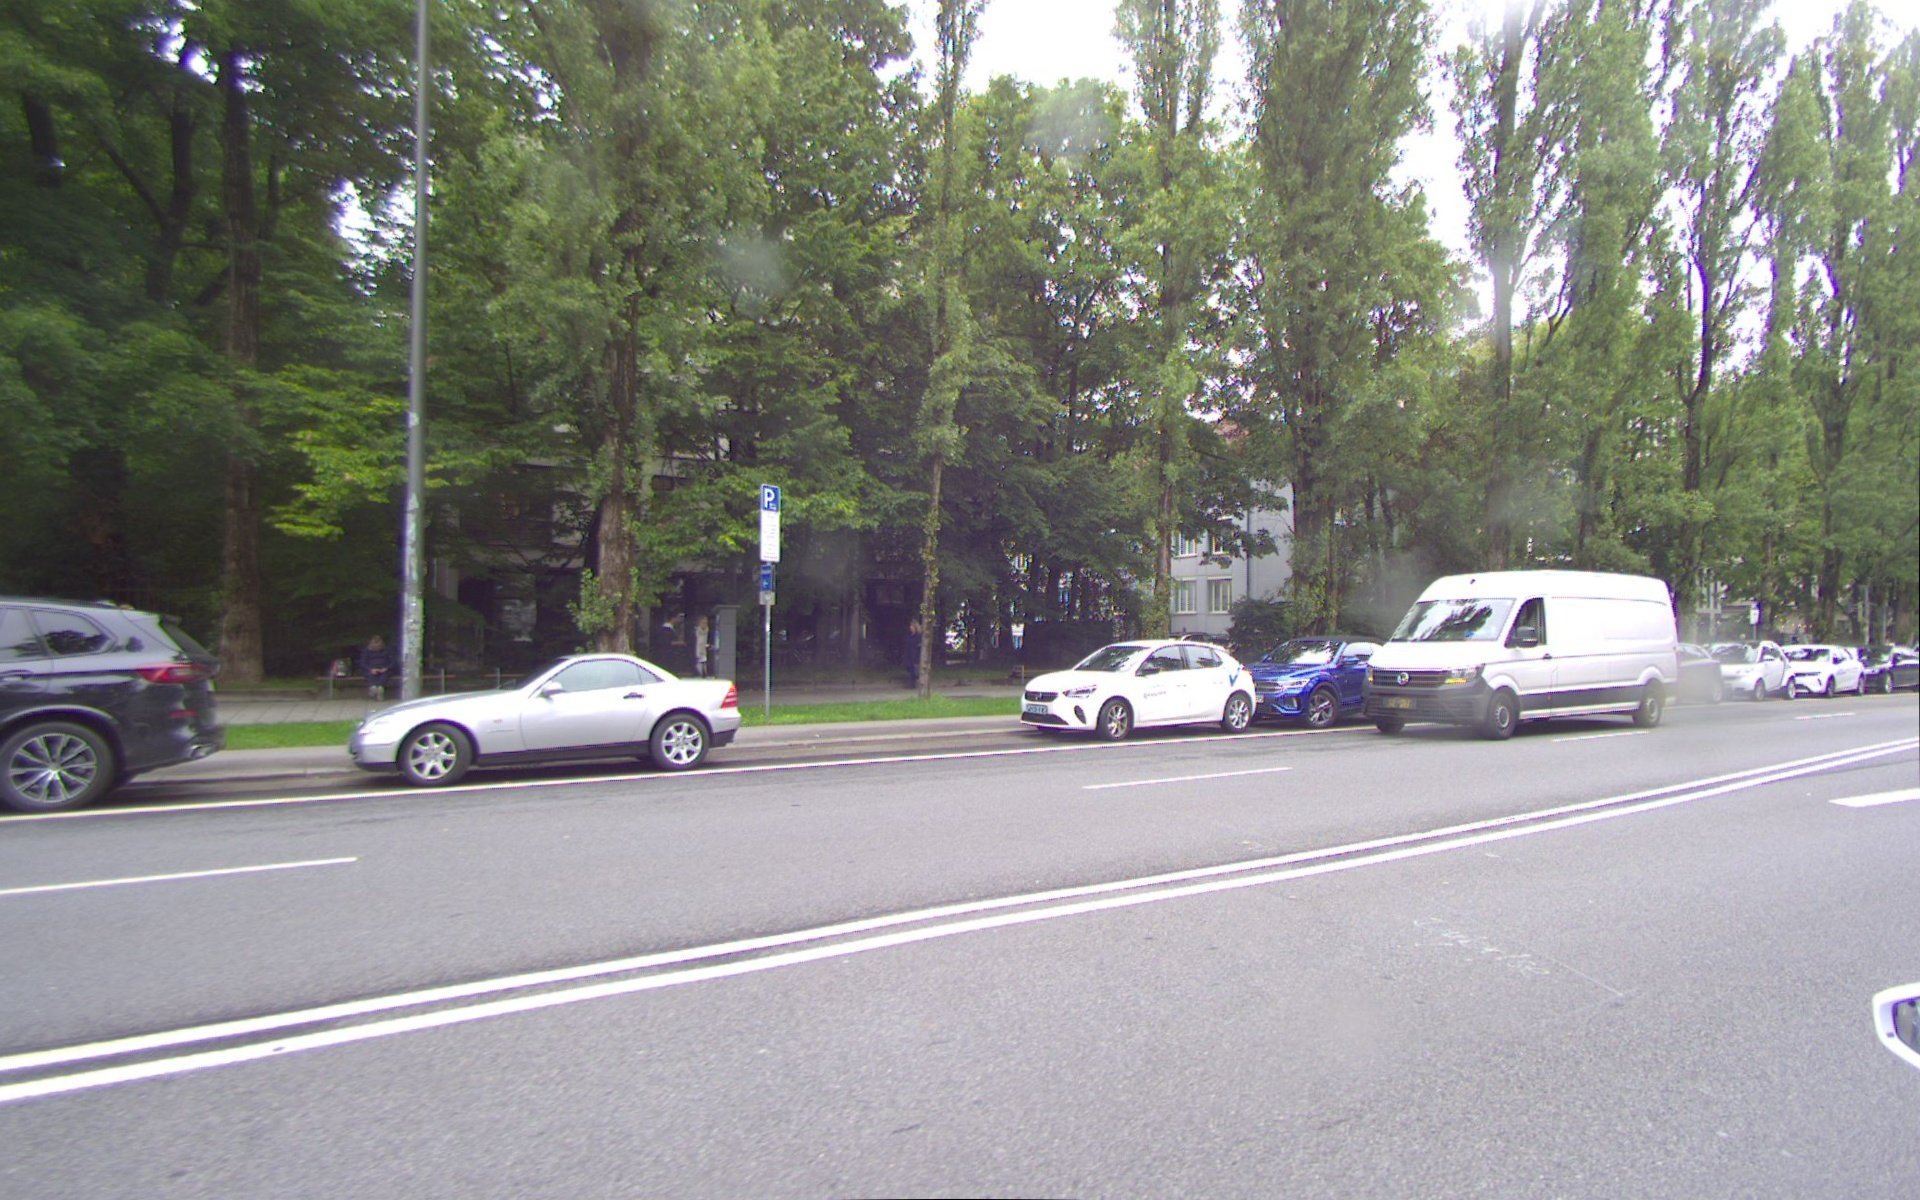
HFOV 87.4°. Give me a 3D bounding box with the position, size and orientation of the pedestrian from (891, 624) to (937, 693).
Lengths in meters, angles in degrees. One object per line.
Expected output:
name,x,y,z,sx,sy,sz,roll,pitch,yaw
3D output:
pedestrian,-1.135,1.419,24.612,0.870,1.620,0.733,1,0,-29

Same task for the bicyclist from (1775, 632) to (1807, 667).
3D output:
bicyclist,40.872,2.426,49.392,0.812,1.745,0.904,1,-2,-20

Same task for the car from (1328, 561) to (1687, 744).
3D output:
car,9.189,0.850,16.600,6.684,2.515,2.216,1,-4,-33

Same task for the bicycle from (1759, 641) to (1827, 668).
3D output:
bicycle,40.871,2.645,49.341,0.800,1.254,2.532,1,-2,-20

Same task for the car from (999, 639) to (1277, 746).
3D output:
car,2.832,1.380,15.743,4.186,1.471,1.762,1,-4,-32

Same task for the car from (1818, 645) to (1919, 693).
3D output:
car,28.578,2.128,31.341,4.122,1.407,1.615,1,-4,-33

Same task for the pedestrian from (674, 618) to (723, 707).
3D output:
pedestrian,-5.052,1.191,19.386,0.742,1.686,0.735,1,-2,-29

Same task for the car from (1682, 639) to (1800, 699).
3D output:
car,20.431,1.794,26.263,2.932,1.466,1.421,1,-5,-31

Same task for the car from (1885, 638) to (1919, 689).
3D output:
car,33.594,2.130,34.283,4.645,1.675,1.839,1,-4,-33

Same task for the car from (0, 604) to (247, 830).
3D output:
car,-8.955,0.982,8.290,4.841,1.790,1.931,1,-5,-32

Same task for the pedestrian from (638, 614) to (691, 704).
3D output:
pedestrian,-6.058,1.198,20.596,0.879,1.795,0.733,1,0,-29

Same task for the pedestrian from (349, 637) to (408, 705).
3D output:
pedestrian,-10.890,1.310,18.835,0.912,1.194,0.963,2,-1,-30

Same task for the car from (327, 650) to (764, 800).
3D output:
car,-4.461,1.254,11.081,4.185,1.351,1.818,1,-4,-31

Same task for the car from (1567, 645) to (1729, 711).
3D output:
car,16.297,1.813,23.759,3.804,1.444,1.595,1,-4,-29

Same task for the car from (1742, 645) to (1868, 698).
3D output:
car,23.987,1.988,28.478,4.123,1.407,1.614,2,-4,-34

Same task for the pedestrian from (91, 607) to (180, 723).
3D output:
pedestrian,-13.012,1.007,15.879,0.945,1.764,0.663,1,-2,-30

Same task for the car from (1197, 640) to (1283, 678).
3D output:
car,14.006,2.939,50.252,3.952,1.795,1.984,1,-1,-30

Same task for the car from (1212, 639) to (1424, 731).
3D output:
car,6.346,1.448,17.754,3.546,1.470,1.701,1,-4,-32
